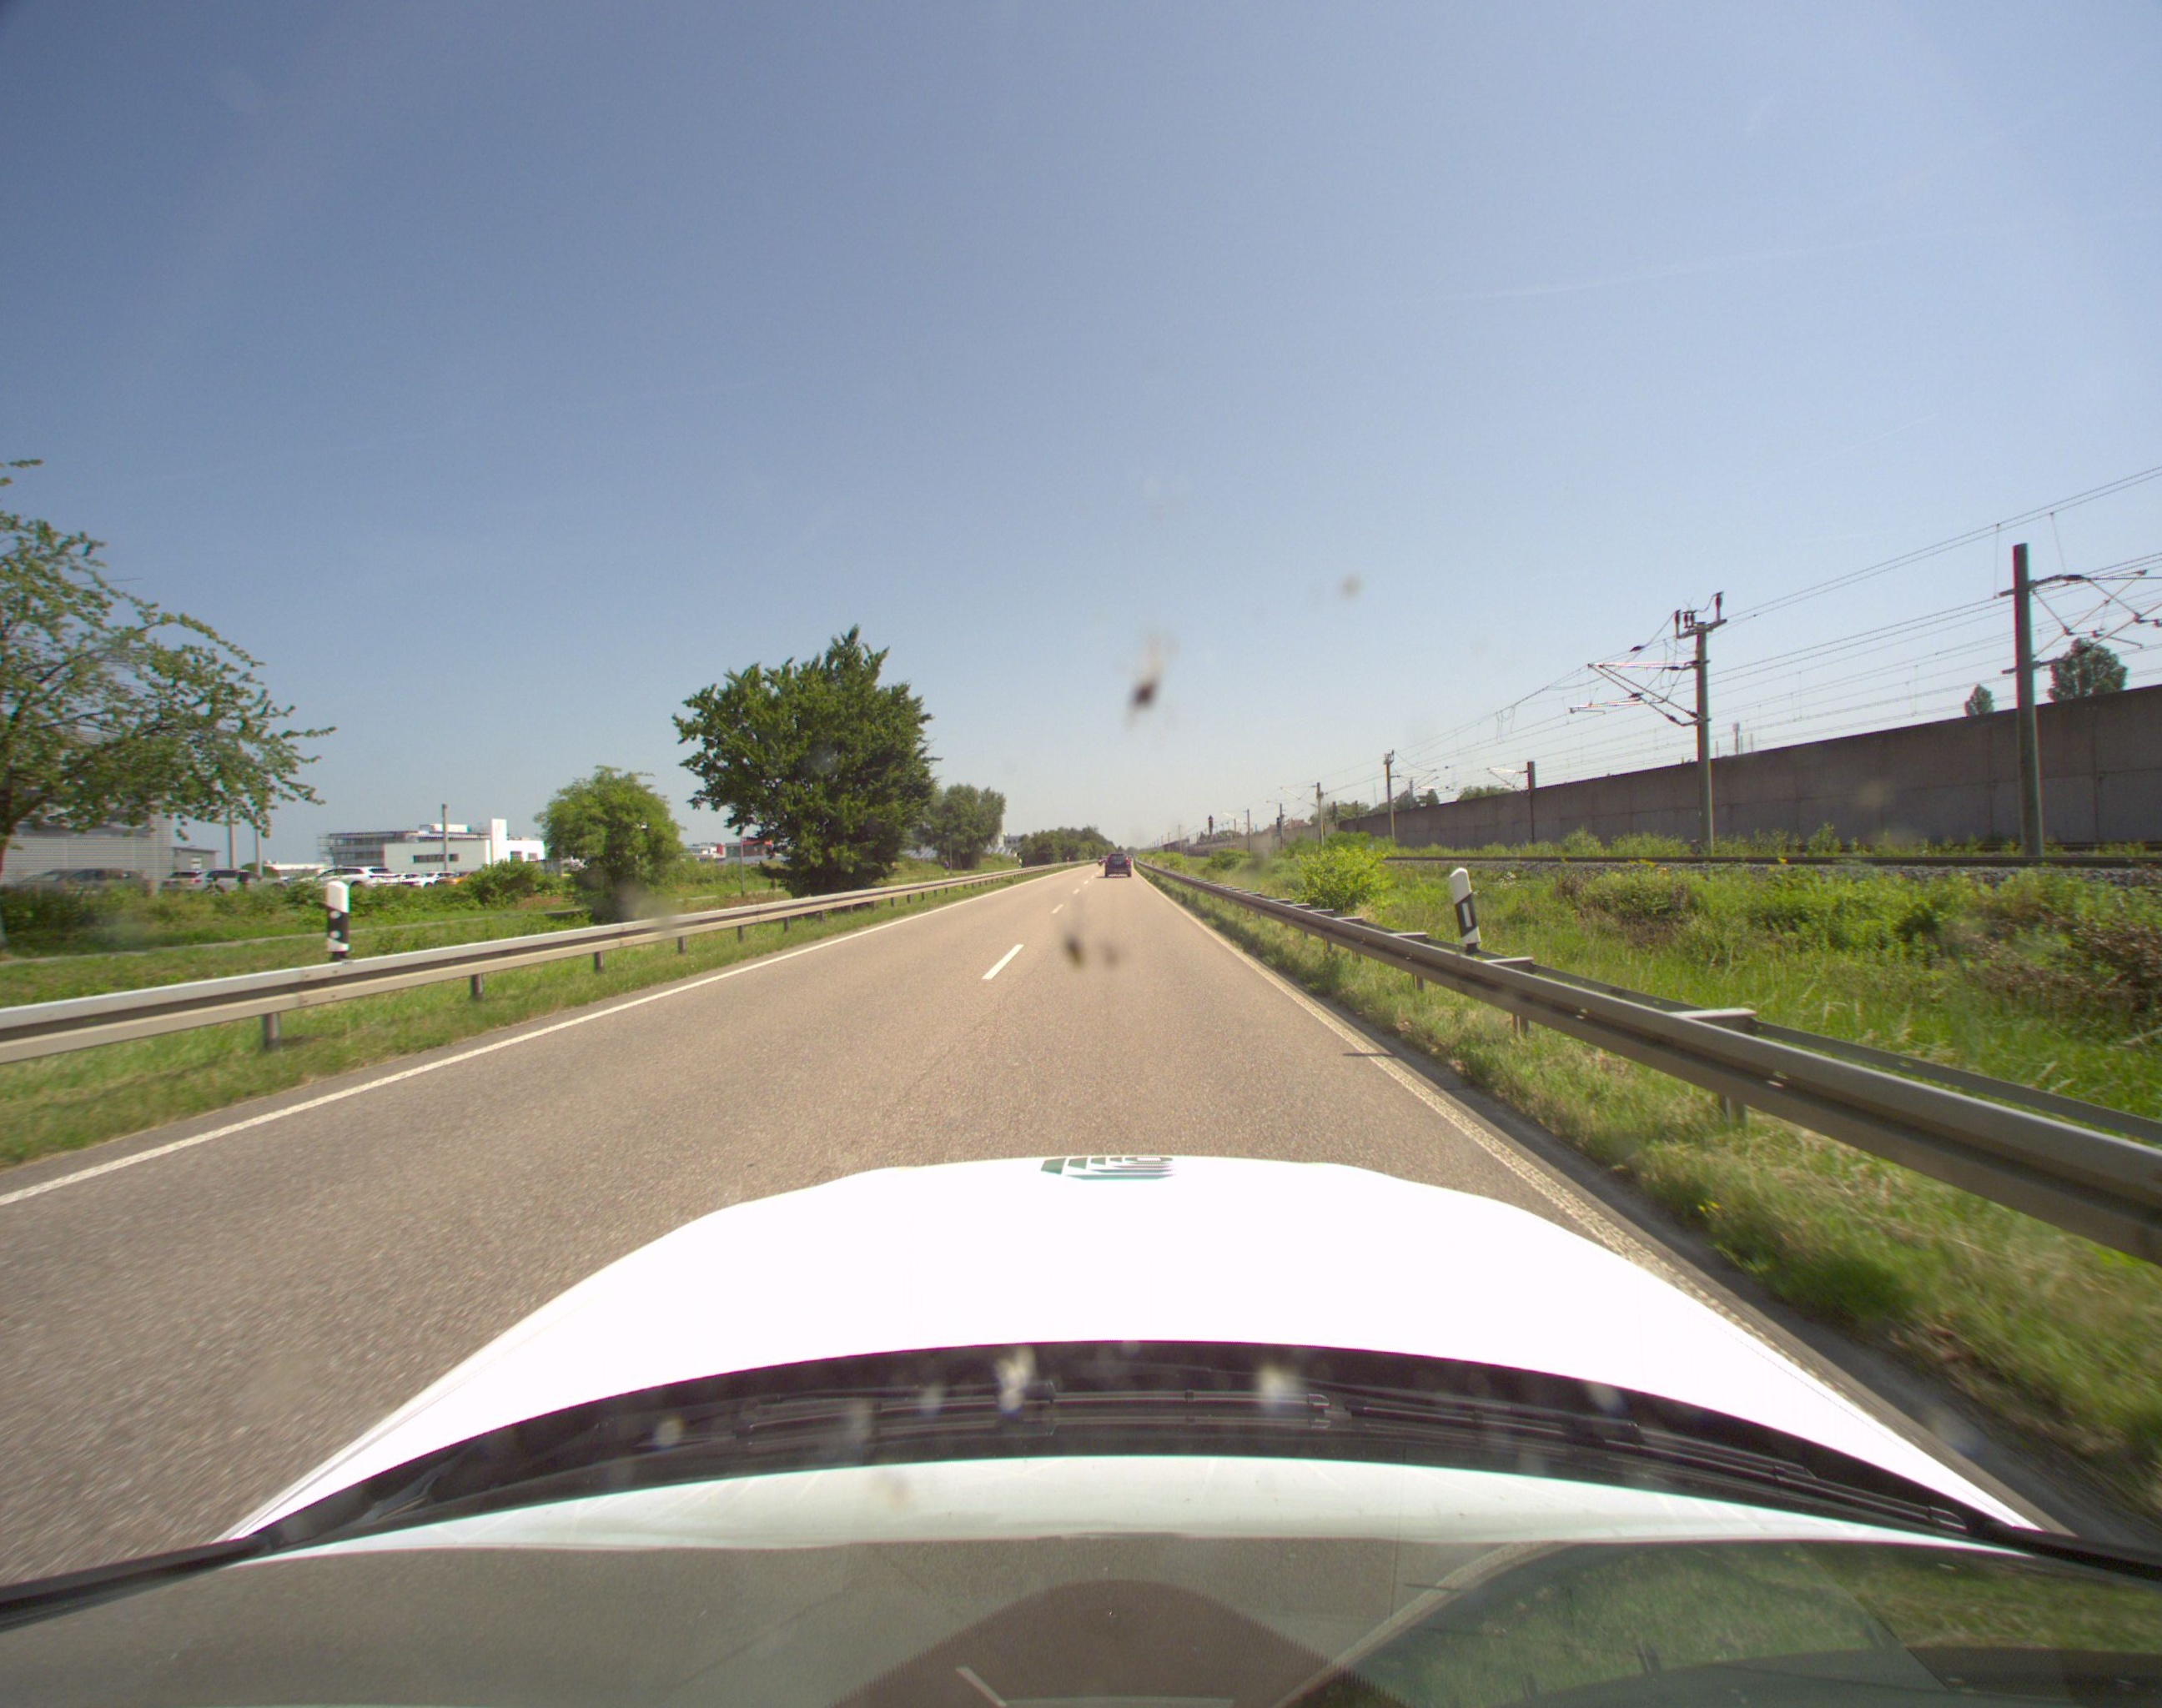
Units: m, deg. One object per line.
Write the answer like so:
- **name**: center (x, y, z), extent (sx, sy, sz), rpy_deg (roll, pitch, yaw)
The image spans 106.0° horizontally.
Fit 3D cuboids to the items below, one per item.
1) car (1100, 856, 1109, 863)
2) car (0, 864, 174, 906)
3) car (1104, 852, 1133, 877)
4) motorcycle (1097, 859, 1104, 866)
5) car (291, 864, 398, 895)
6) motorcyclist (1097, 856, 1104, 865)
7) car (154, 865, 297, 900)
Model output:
- **car**: center (4.994, 1.154, 170.664), extent (1.691, 1.475, 4.690), rpy_deg (0, 0, 3)
- **car**: center (-41.601, 1.244, 34.153), extent (1.740, 1.537, 4.668), rpy_deg (-3, 0, 2)
- **car**: center (2.645, 0.754, 58.508), extent (1.986, 1.700, 4.001), rpy_deg (-1, 0, 1)
- **motorcycle**: center (2.909, 1.317, 120.193), extent (0.924, 1.028, 2.270), rpy_deg (0, 0, 3)
- **car**: center (-40.857, 1.381, 45.238), extent (4.218, 1.437, 1.622), rpy_deg (-3, 0, -5)
- **motorcyclist**: center (2.901, 0.910, 120.171), extent (0.989, 1.310, 0.936), rpy_deg (0, -1, 2)
- **car**: center (-40.993, 1.321, 39.192), extent (1.740, 1.437, 4.668), rpy_deg (-3, 0, 3)
